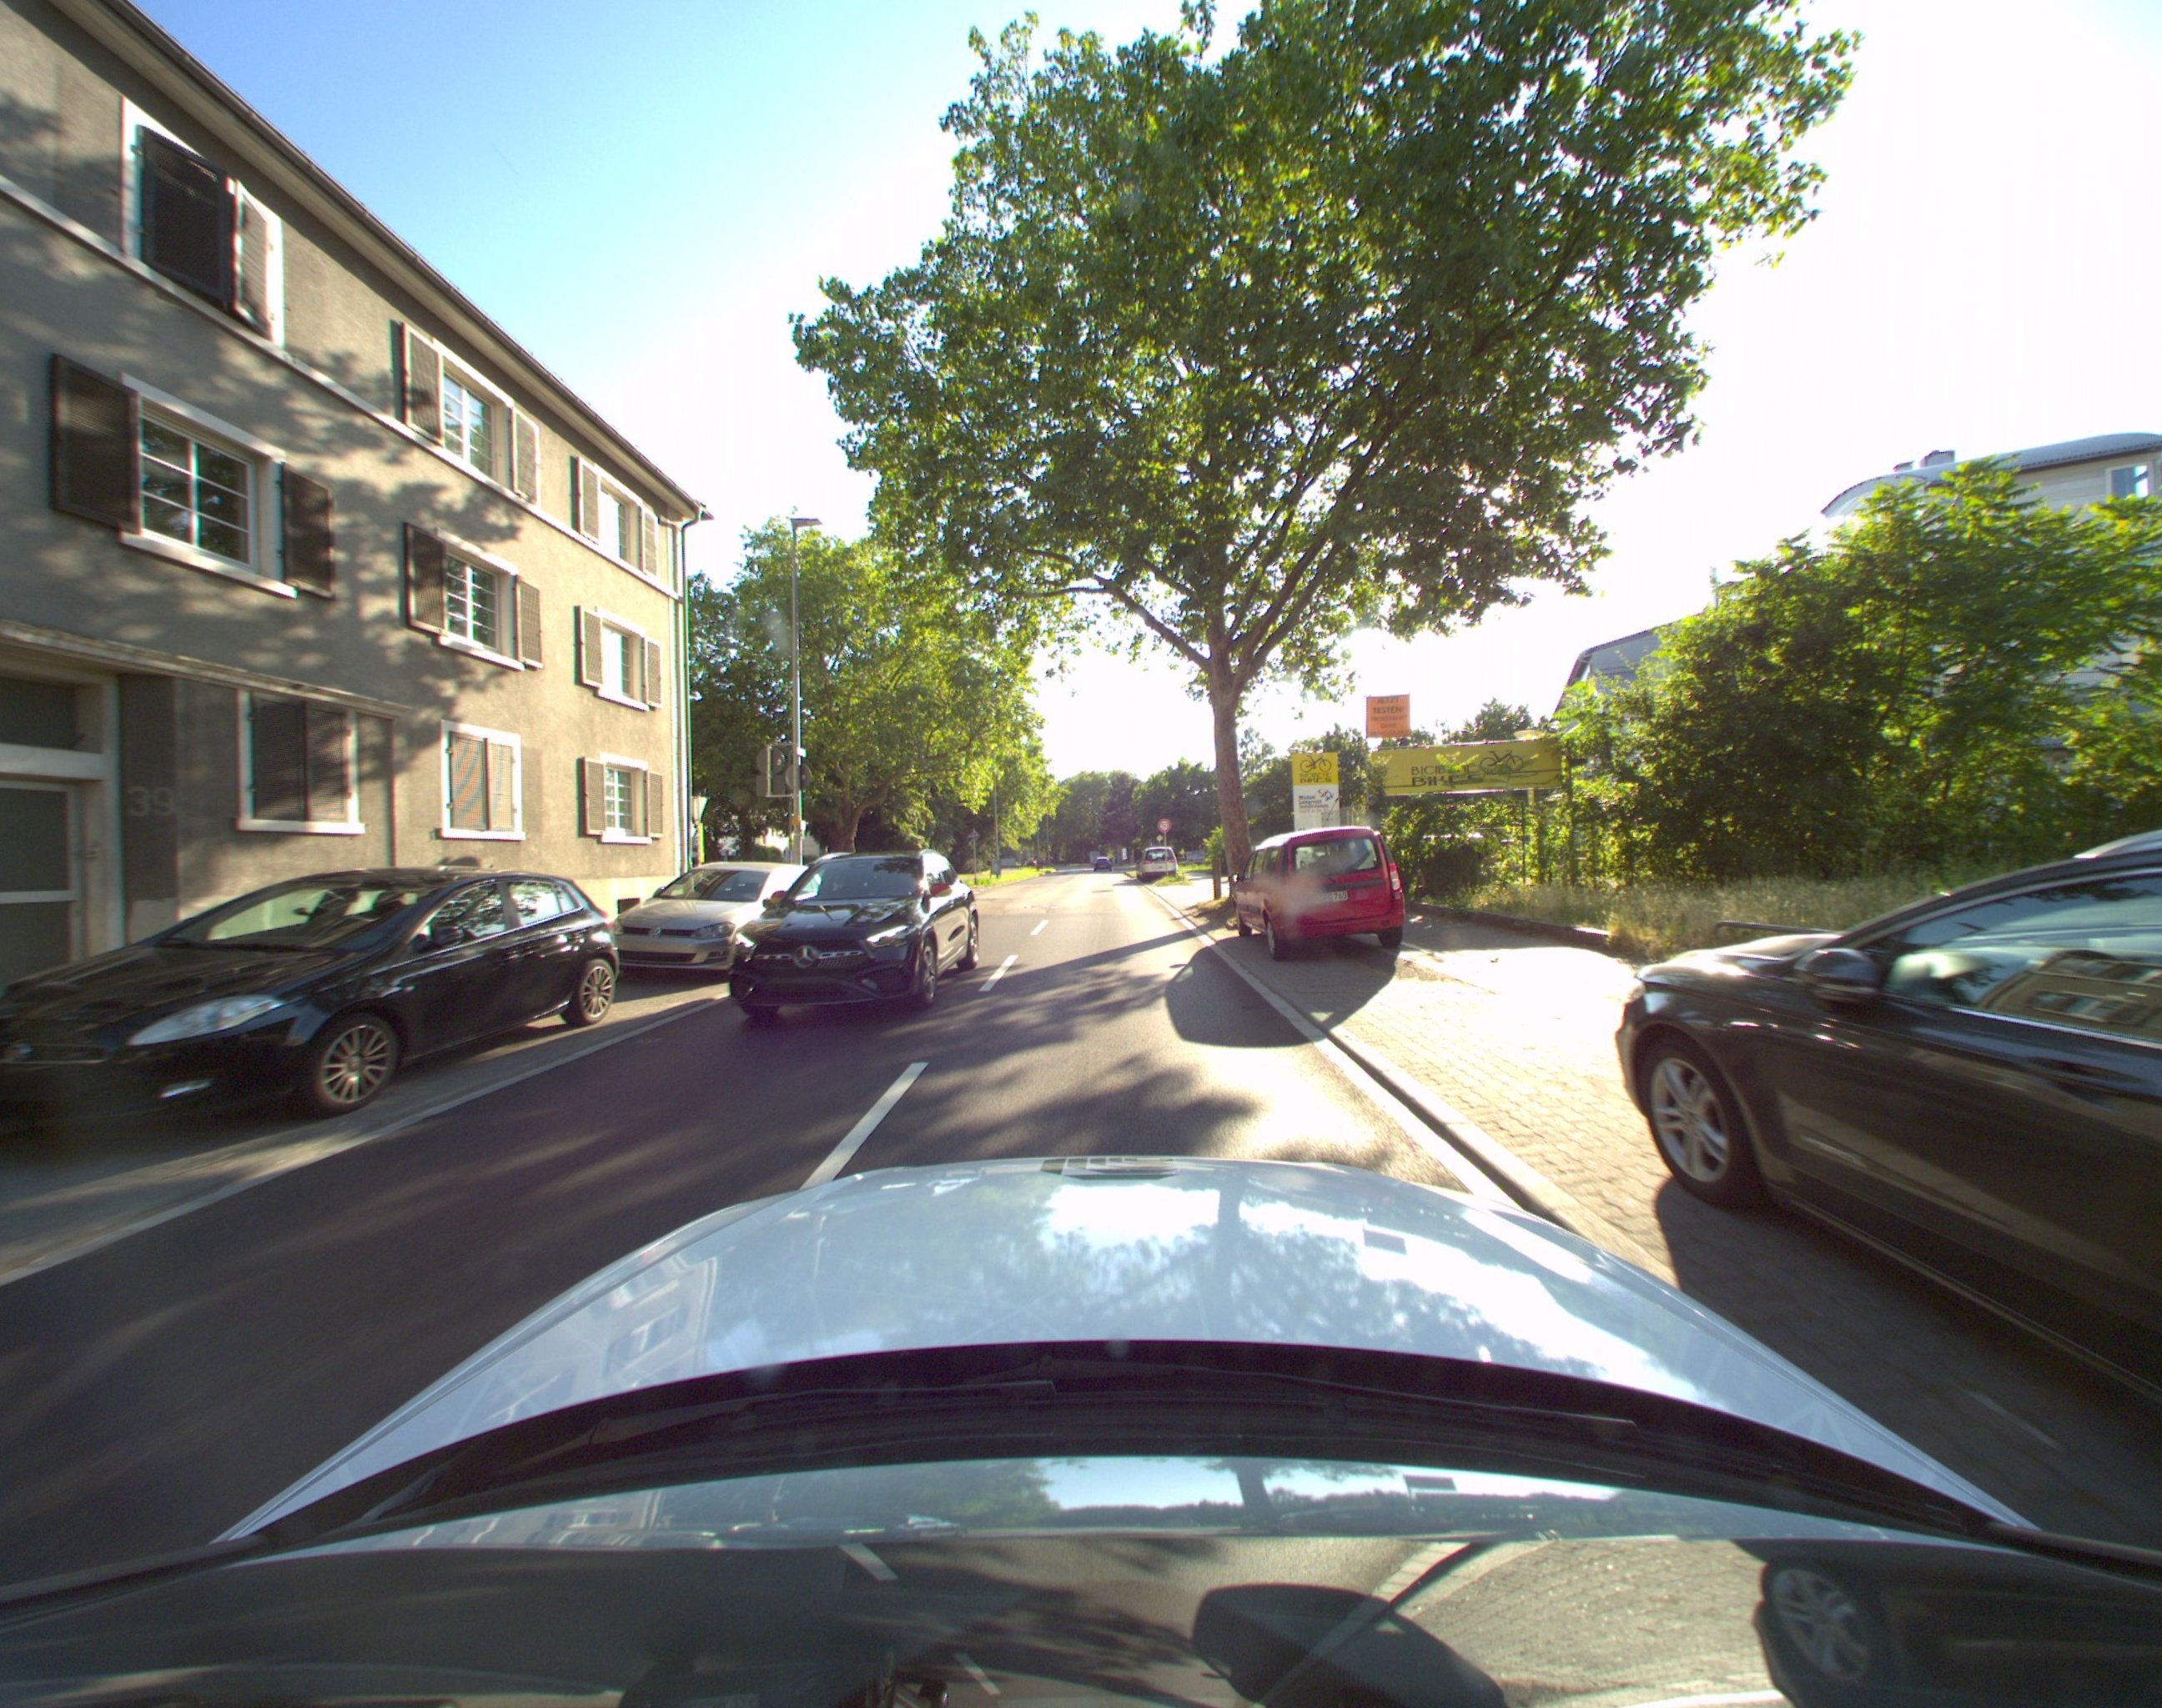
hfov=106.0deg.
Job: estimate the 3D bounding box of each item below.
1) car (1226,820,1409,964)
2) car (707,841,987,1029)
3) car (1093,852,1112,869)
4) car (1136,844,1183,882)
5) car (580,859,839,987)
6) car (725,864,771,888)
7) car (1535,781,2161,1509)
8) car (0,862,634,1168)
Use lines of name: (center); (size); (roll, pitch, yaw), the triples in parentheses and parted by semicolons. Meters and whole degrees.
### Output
car: (3.265, 0.456, 12.109); (1.591, 1.689, 4.339); (-3, 0, 3)
car: (-2.314, 0.719, 9.284); (1.890, 1.590, 4.070); (-3, 0, 1)
car: (2.222, 0.688, 83.030); (1.832, 1.605, 3.864); (-2, 0, 2)
car: (4.033, 0.436, 42.748); (1.986, 1.759, 4.918); (-4, 0, 1)
car: (-5.047, 0.837, 11.776); (1.754, 1.483, 4.110); (0, 0, 2)
car: (-26.900, 1.725, 65.922); (1.887, 1.741, 4.175); (-3, 0, 0)
car: (3.023, 0.547, 1.718); (1.693, 1.481, 4.702); (-5, 0, 4)
car: (-5.371, 0.840, 6.188); (1.701, 1.507, 4.053); (0, 0, 0)
